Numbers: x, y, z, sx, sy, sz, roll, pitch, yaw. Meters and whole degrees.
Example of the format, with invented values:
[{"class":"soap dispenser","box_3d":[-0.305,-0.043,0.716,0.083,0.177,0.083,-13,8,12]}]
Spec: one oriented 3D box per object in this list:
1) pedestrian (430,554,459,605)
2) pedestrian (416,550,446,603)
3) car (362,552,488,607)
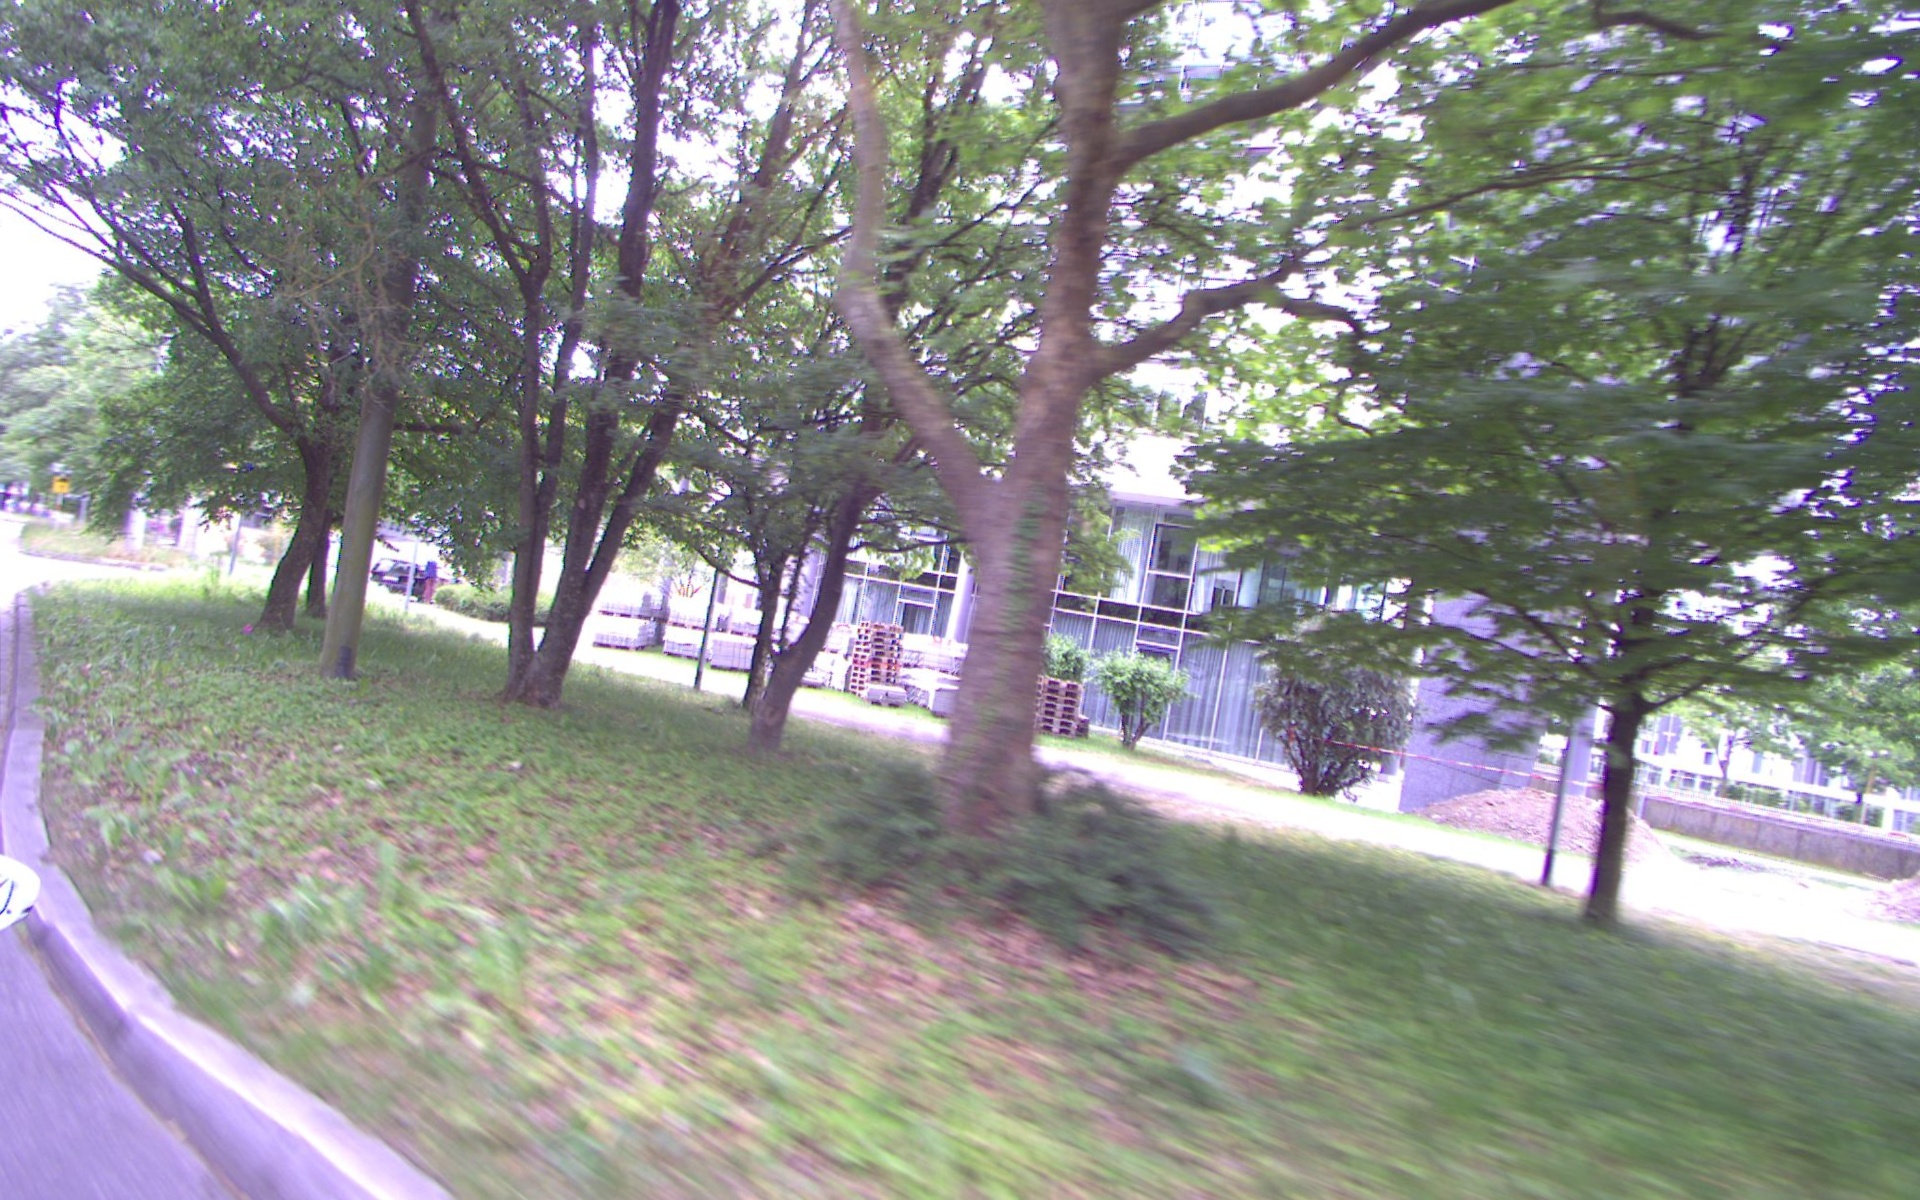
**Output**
[{"class":"pedestrian","box_3d":[-18.816,-0.740,36.737,0.526,1.747,0.498,10,2,17]},{"class":"pedestrian","box_3d":[-18.974,-0.833,36.065,0.573,1.777,0.474,10,2,17]},{"class":"car","box_3d":[-19.953,-0.711,37.781,1.836,1.534,4.747,7,-2,3]}]
